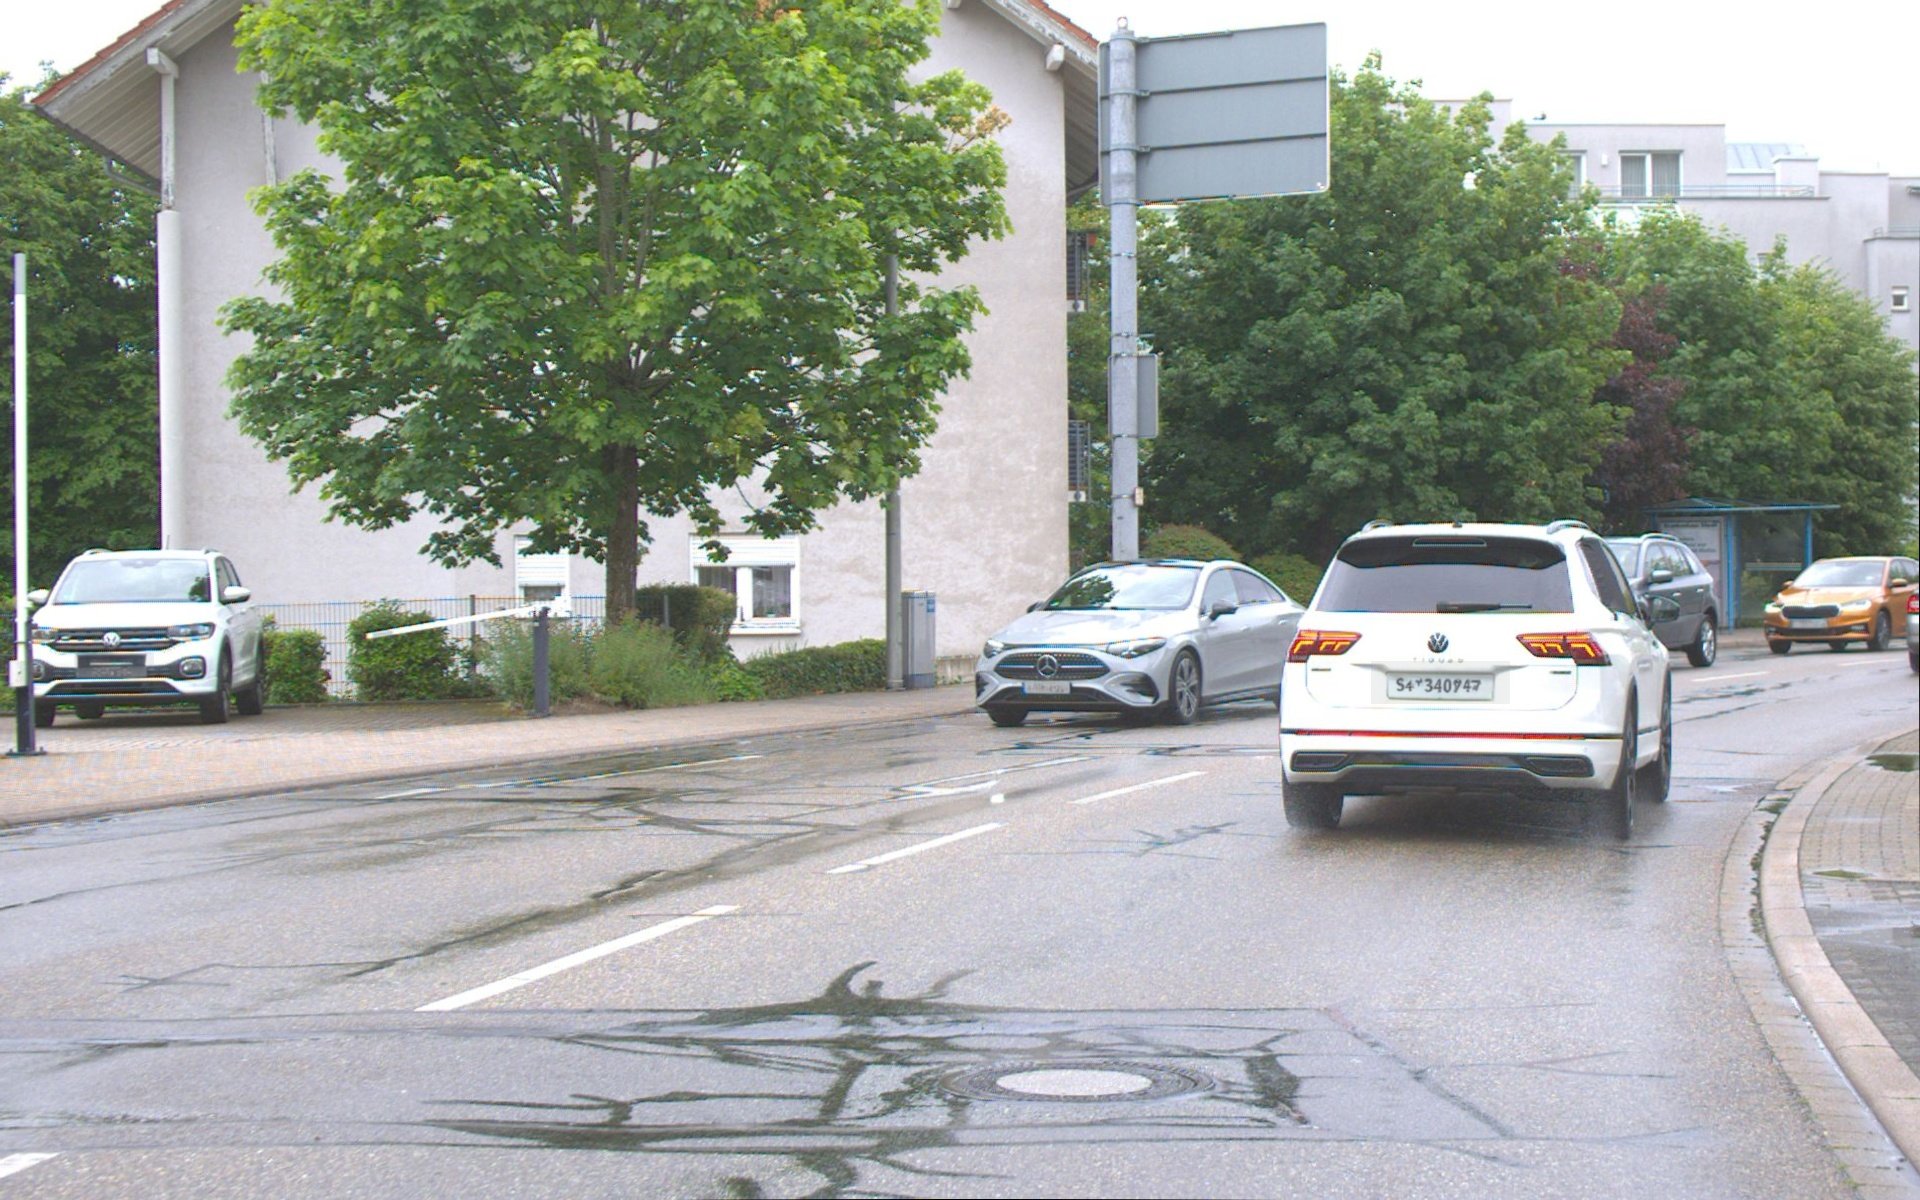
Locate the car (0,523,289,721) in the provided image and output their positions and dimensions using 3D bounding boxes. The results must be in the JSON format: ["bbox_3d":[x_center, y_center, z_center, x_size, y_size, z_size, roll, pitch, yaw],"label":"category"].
[{"bbox_3d":[-7.335,0.225,31.171,1.993,1.645,4.000,1,-1,-5],"label":"car"}]

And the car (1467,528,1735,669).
[{"bbox_3d":[8.067,-0.062,42.974,1.905,1.651,4.259,0,2,31],"label":"car"}]

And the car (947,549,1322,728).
[{"bbox_3d":[1.662,0.284,30.916,1.904,1.386,4.484,1,2,24],"label":"car"}]

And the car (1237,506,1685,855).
[{"bbox_3d":[2.917,0.349,19.238,1.922,1.716,4.262,1,1,16],"label":"car"}]

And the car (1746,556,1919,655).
[{"bbox_3d":[13.546,0.056,52.225,1.905,1.434,4.108,0,1,32],"label":"car"}]

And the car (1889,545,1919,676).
[{"bbox_3d":[12.376,0.168,41.167,1.767,1.505,3.994,0,-1,25],"label":"car"}]
